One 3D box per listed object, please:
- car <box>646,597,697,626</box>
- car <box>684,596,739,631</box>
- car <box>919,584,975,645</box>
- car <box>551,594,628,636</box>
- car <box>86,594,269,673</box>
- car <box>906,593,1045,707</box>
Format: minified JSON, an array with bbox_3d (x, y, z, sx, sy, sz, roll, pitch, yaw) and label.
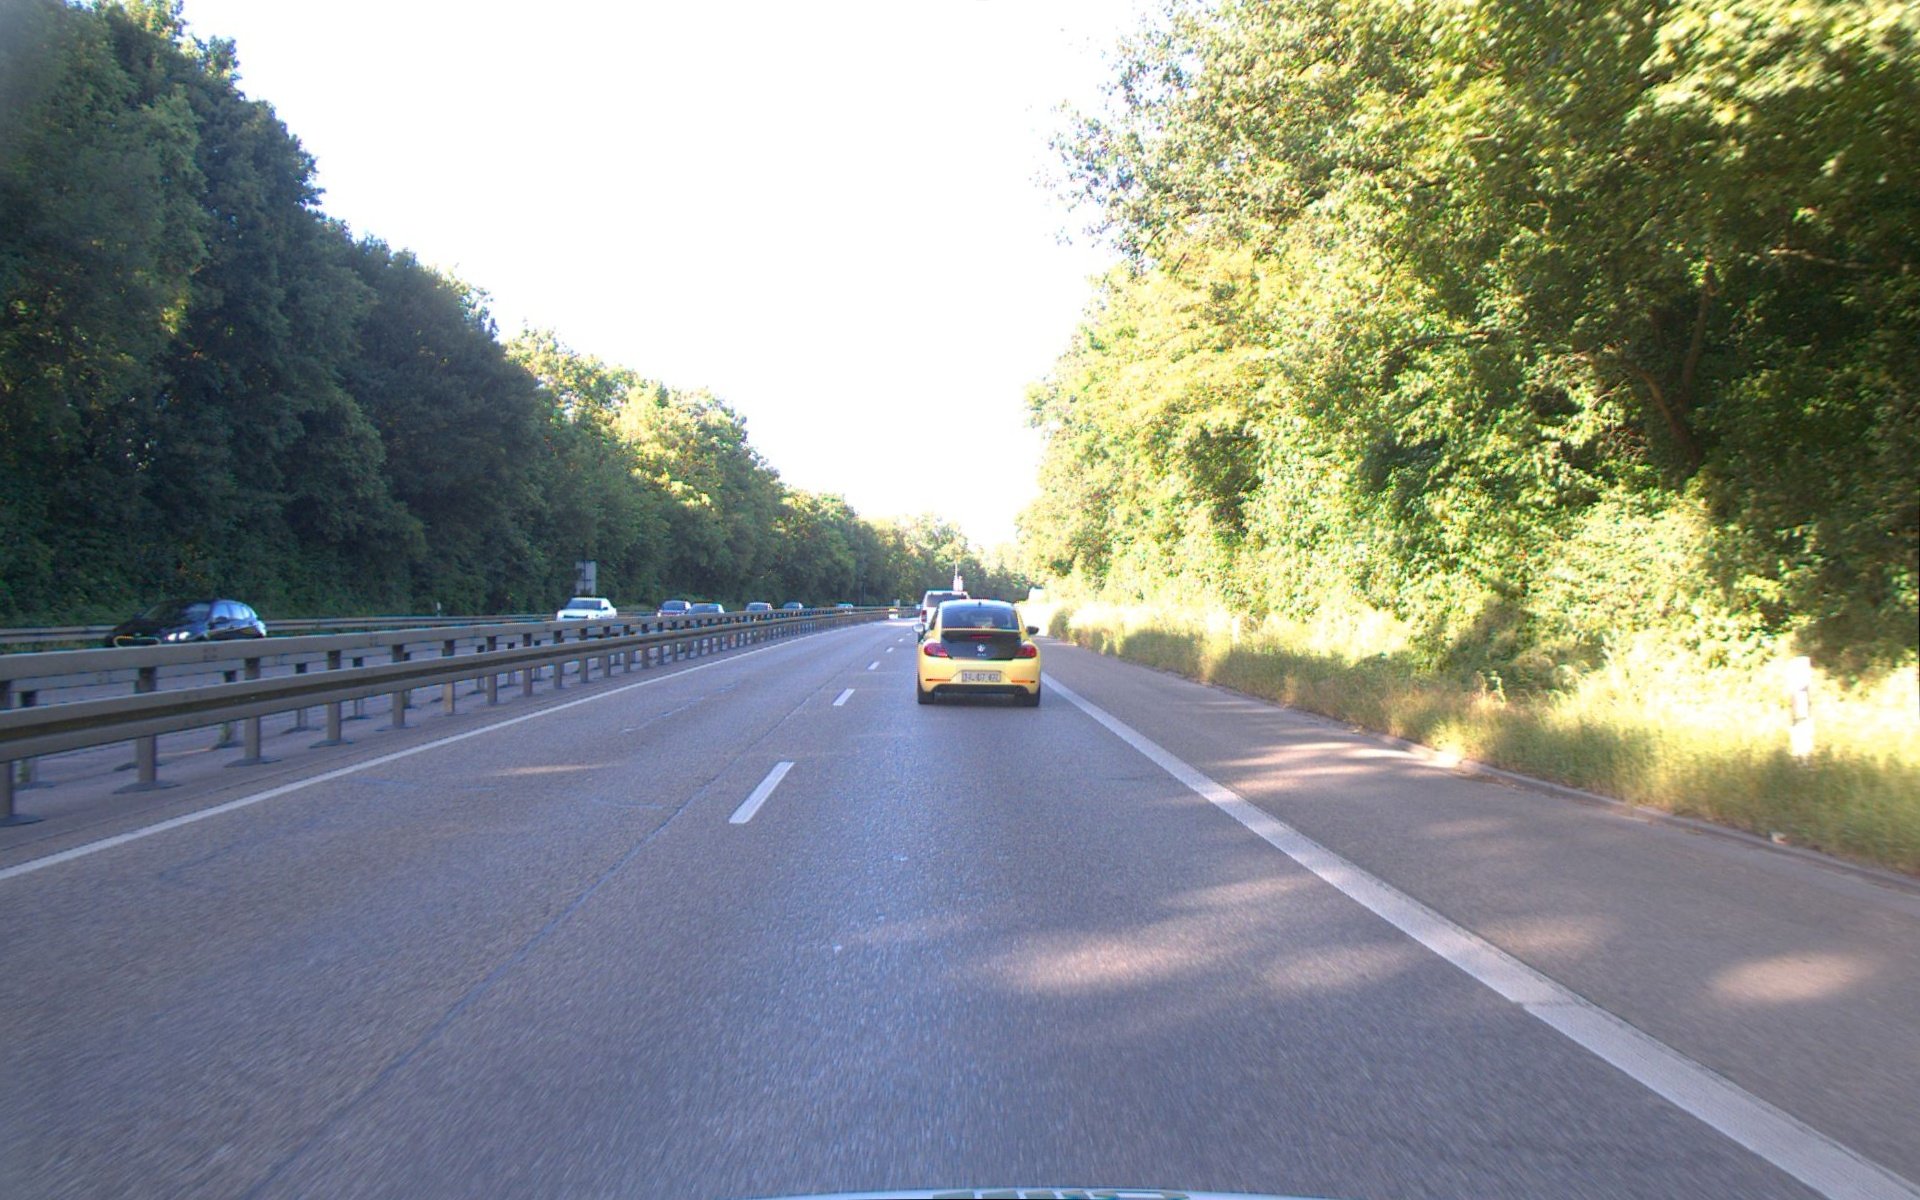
[{"bbox_3d":[-15.677,0.599,90.051,1.952,1.489,4.000,-1,0,1],"label":"car"},{"bbox_3d":[-11.249,0.585,75.133,1.688,1.494,4.097,-1,0,2],"label":"car"},{"bbox_3d":[-0.441,0.460,53.369,1.706,1.862,3.421,1,0,-1],"label":"car"},{"bbox_3d":[-15.431,0.605,69.194,1.952,1.651,4.791,-1,0,2],"label":"car"},{"bbox_3d":[-16.316,0.675,34.727,1.953,1.512,3.999,-1,0,-1],"label":"car"},{"bbox_3d":[0.289,0.695,24.583,1.899,1.534,3.423,1,0,2],"label":"car"}]
